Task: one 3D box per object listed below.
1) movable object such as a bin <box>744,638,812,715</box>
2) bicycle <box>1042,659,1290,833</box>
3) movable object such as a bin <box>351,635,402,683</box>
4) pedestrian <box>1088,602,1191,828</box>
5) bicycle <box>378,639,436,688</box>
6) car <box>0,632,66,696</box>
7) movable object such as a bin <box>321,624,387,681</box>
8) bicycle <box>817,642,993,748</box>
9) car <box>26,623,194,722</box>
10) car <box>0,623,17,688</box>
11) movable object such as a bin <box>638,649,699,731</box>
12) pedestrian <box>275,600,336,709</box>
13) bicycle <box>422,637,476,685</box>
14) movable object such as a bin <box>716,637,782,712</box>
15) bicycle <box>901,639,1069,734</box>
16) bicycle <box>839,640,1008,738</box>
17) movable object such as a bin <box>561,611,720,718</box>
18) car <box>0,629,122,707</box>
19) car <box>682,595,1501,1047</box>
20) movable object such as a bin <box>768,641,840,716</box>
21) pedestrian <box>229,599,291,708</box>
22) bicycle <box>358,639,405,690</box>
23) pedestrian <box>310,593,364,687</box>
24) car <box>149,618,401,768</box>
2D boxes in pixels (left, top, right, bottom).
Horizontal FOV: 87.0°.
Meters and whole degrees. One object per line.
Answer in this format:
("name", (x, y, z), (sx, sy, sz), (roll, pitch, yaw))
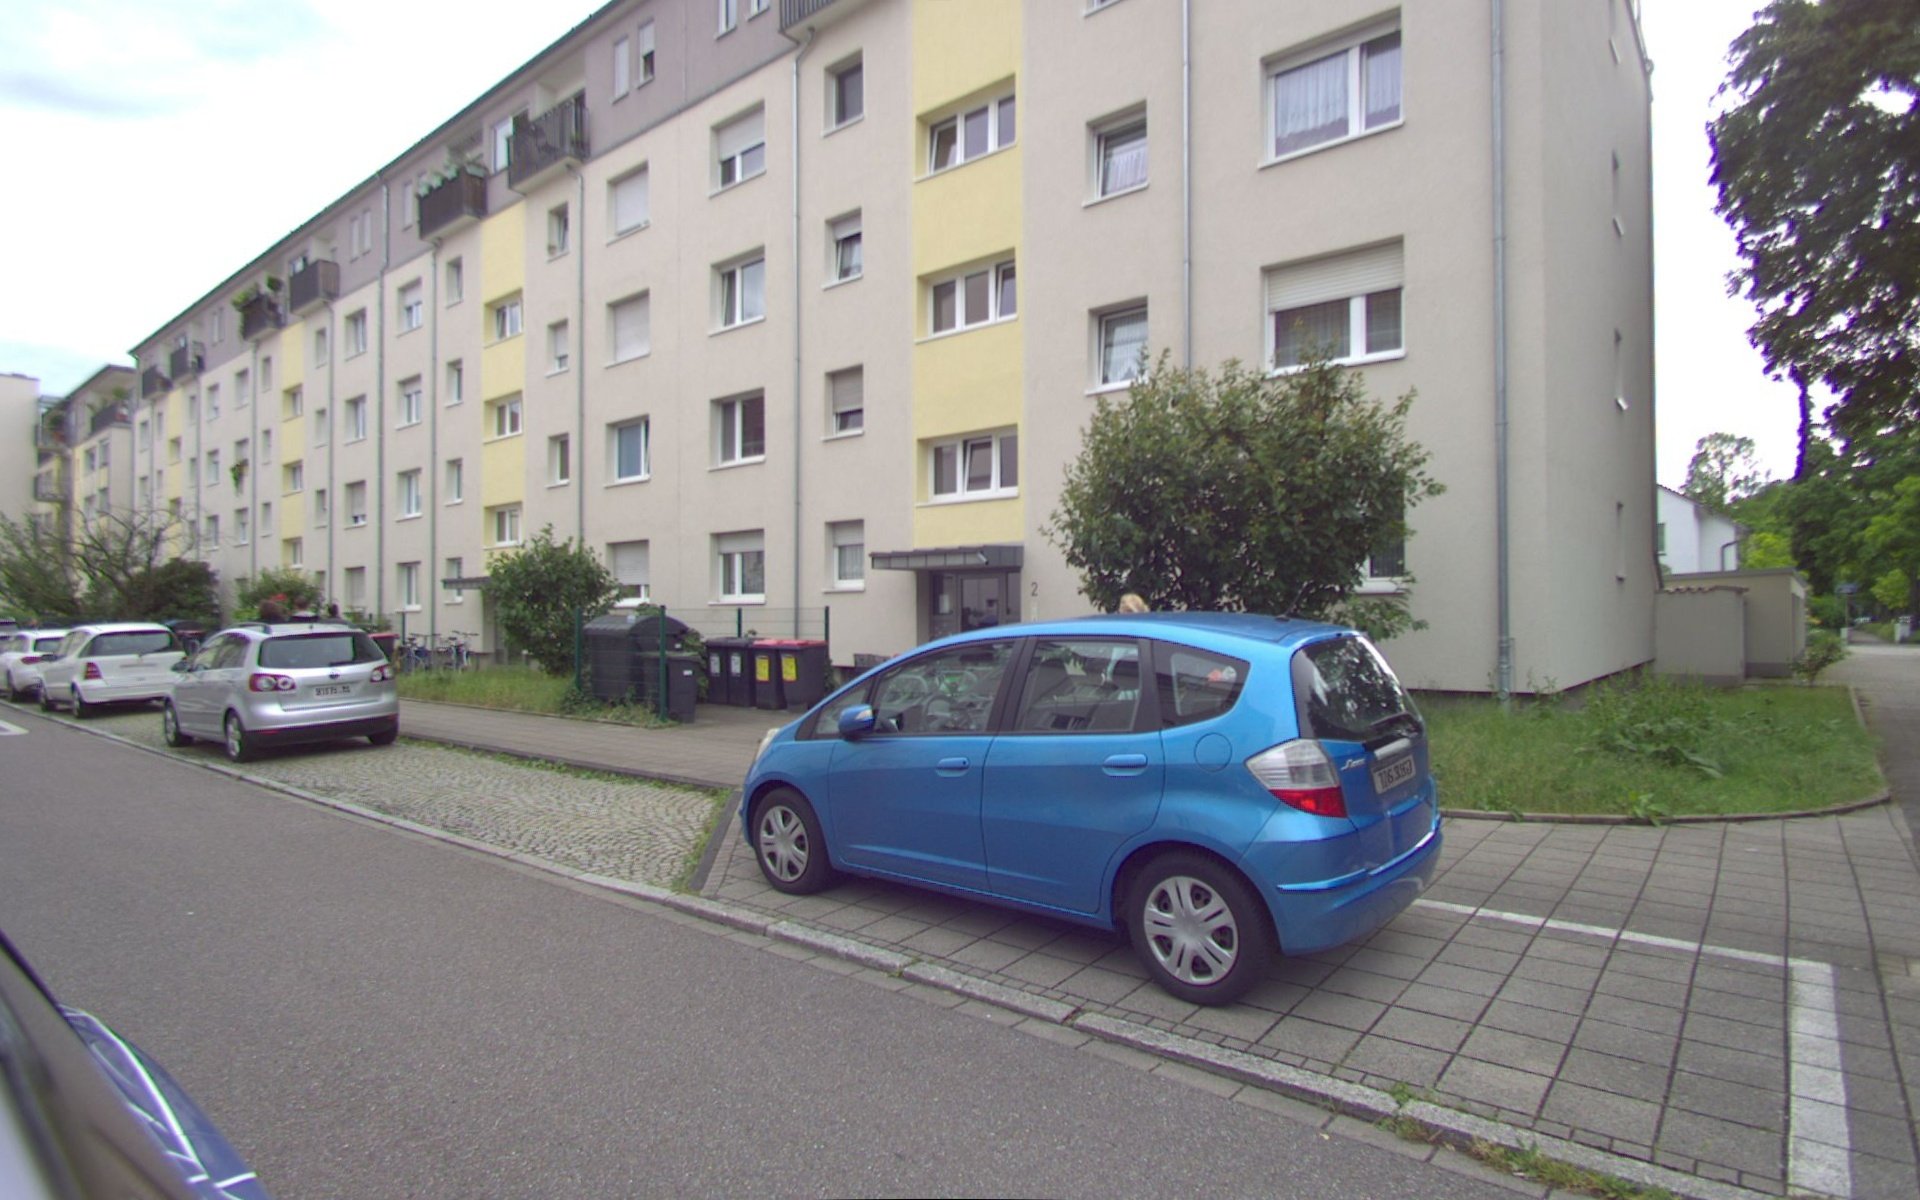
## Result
("movable object such as a bin", (-2.792, 1.153, 15.540), (0.597, 1.125, 0.834), (-2, -2, 37))
("bicycle", (1.491, 1.025, 7.611), (1.819, 1.128, 0.530), (-3, -3, 44))
("movable object such as a bin", (-14.574, 1.457, 25.287), (0.786, 1.117, 0.861), (0, 0, 35))
("pedestrian", (1.303, 0.805, 7.357), (0.568, 1.561, 0.442), (-3, -3, 43))
("bicycle", (-11.965, 1.356, 21.886), (1.753, 1.032, 0.473), (-2, -2, 39))
("car", (-24.134, 1.560, 25.403), (4.475, 1.464, 1.709), (-1, -2, 37))
("movable object such as a bin", (-15.480, 1.327, 25.868), (1.186, 1.385, 1.047), (0, 0, 35))
("bicycle", (-0.663, 1.027, 11.423), (2.120, 1.076, 0.650), (-2, -2, 41))
("car", (-15.725, 1.268, 18.670), (3.722, 1.651, 1.669), (-2, -2, 38))
("car", (-28.757, 1.610, 29.265), (4.447, 1.794, 1.555), (-2, -2, 39))
("movable object such as a bin", (-3.903, 1.188, 13.542), (0.597, 1.041, 0.532), (-2, -2, 38))
("pedestrian", (-11.607, 0.948, 17.947), (0.762, 1.868, 0.699), (-2, -2, 39))
("bicycle", (-11.393, 1.356, 22.550), (1.556, 1.032, 0.416), (-2, -2, 37))
("movable object such as a bin", (-3.315, 1.156, 15.949), (0.597, 1.125, 0.834), (-2, -2, 37))
("bicycle", (0.272, 1.045, 12.684), (2.173, 1.079, 0.651), (-2, -2, 41))
("bicycle", (-0.479, 1.040, 12.257), (2.173, 1.079, 0.651), (-2, -2, 41))
("movable object such as a bin", (-4.666, 0.899, 14.797), (1.669, 1.432, 1.573), (-2, -2, 39))
("car", (-20.107, 1.439, 22.150), (4.679, 1.521, 1.702), (-2, -2, 37))
("car", (0.449, 0.790, 5.330), (3.953, 1.473, 1.713), (-2, 0, 40))
("movable object such as a bin", (-2.319, 1.149, 15.085), (0.633, 1.059, 0.855), (-2, -2, 38))
("pedestrian", (-12.493, 0.933, 18.068), (0.973, 1.877, 0.634), (-2, 0, 40))
("bicycle", (-12.339, 1.357, 21.559), (1.496, 1.032, 0.352), (-2, -2, 39))
("pedestrian", (-11.373, 0.718, 18.477), (0.802, 1.669, 0.608), (-2, -2, 40))
("car", (-8.857, 1.078, 12.967), (3.912, 1.562, 1.637), (-2, 1, 40))
